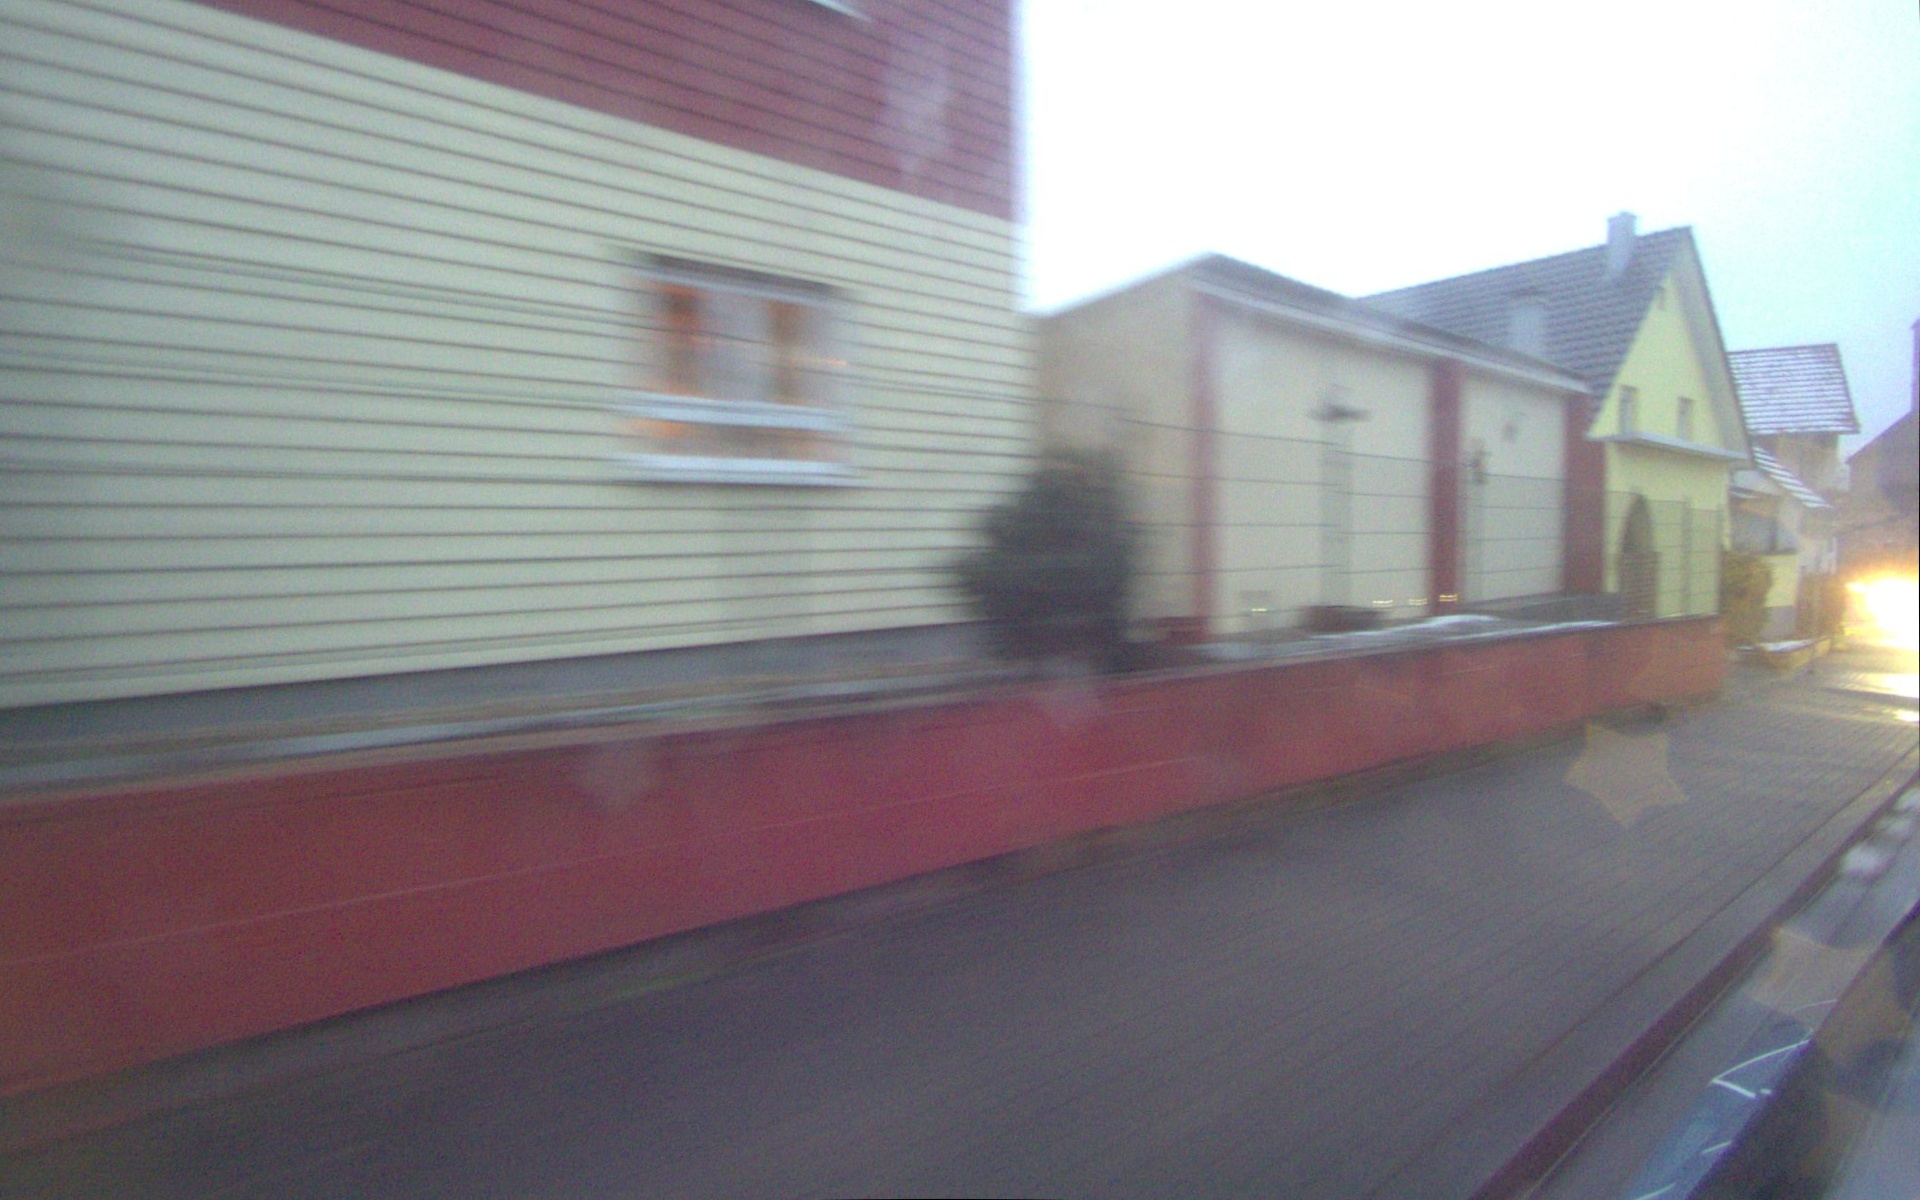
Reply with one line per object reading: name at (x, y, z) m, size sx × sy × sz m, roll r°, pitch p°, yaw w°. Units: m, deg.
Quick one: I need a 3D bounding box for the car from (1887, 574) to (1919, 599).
car at (60.805, -0.880, 65.011) m, size 1.760 × 1.516 × 3.937 m, roll 0°, pitch 1°, yaw 44°

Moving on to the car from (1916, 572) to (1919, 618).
car at (42.978, -0.193, 43.711) m, size 1.988 × 2.038 × 3.948 m, roll 1°, pitch 2°, yaw 37°
